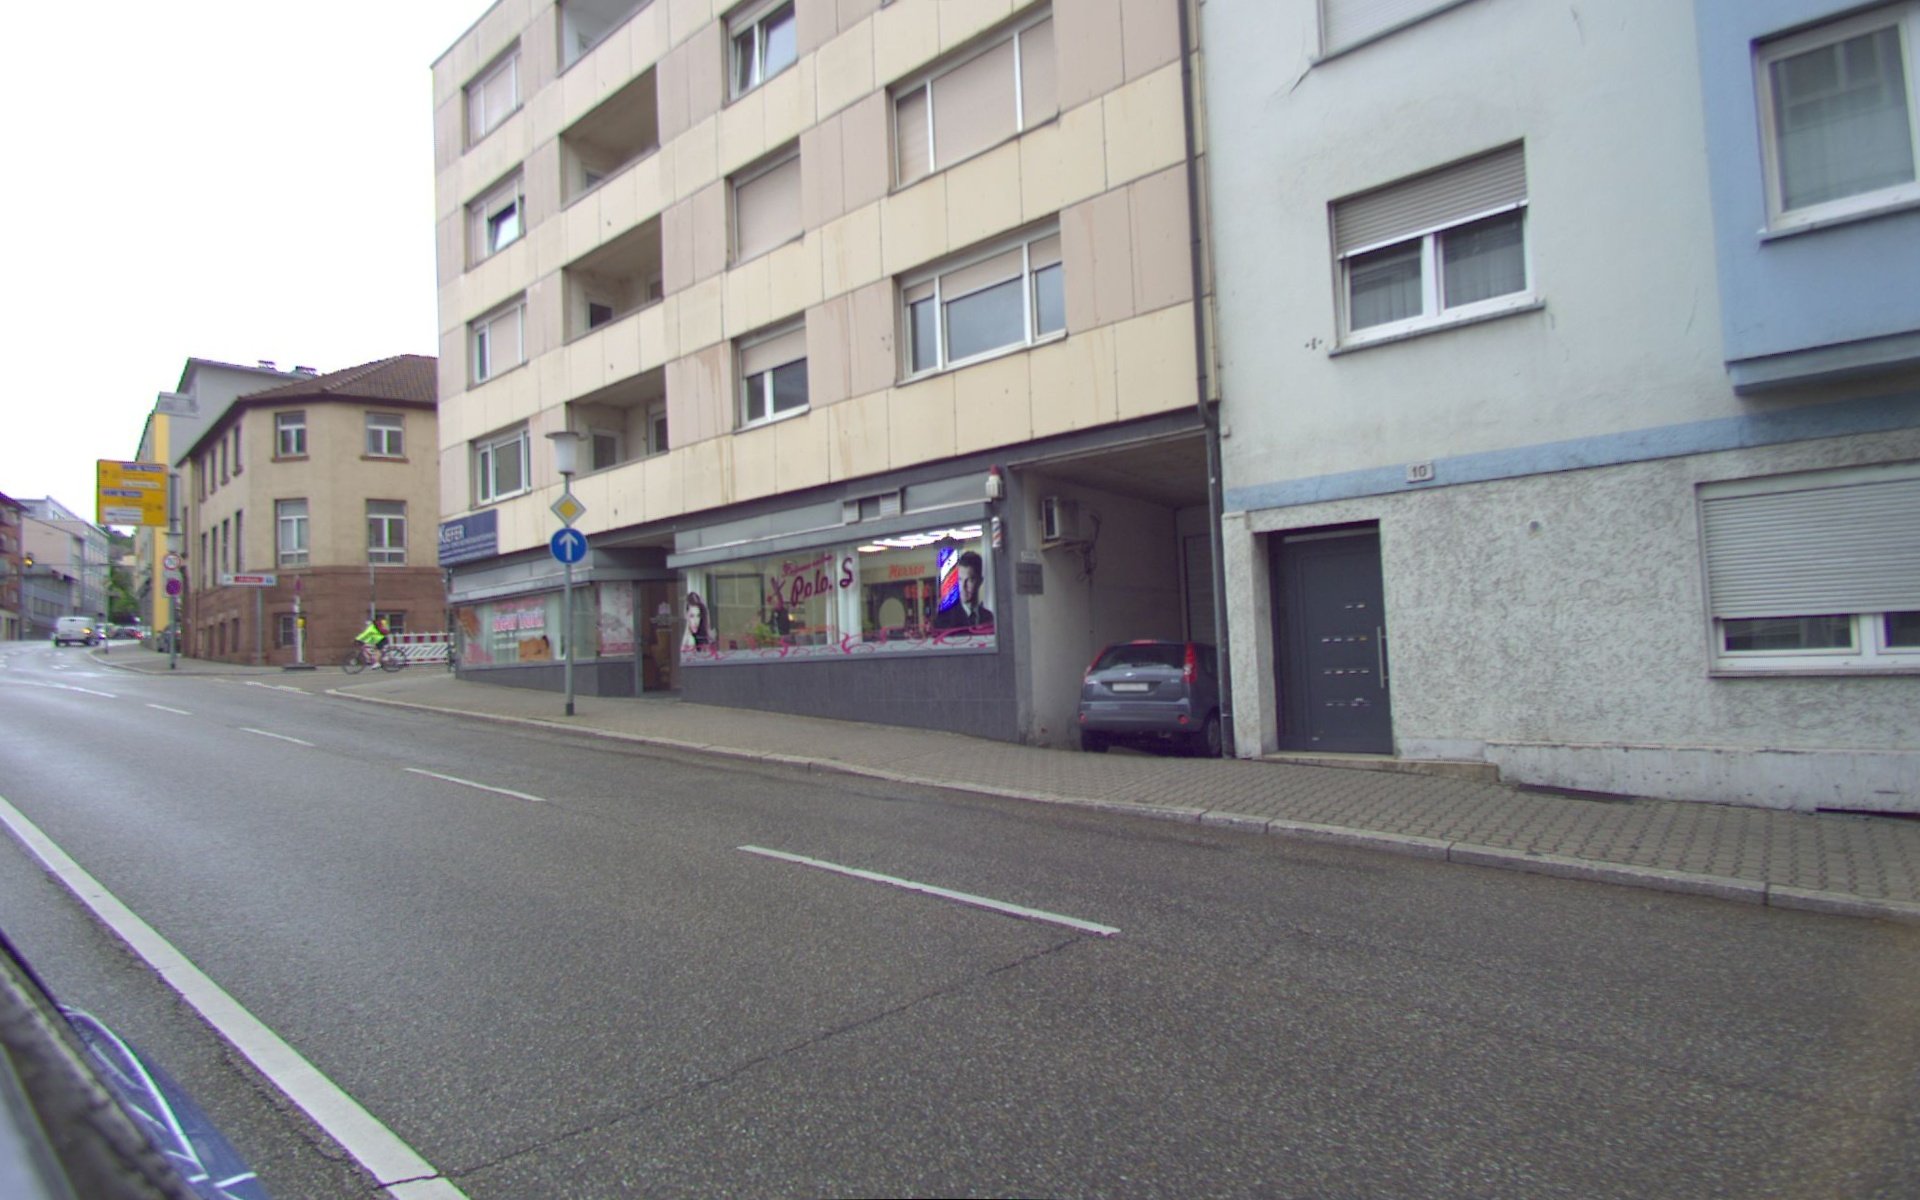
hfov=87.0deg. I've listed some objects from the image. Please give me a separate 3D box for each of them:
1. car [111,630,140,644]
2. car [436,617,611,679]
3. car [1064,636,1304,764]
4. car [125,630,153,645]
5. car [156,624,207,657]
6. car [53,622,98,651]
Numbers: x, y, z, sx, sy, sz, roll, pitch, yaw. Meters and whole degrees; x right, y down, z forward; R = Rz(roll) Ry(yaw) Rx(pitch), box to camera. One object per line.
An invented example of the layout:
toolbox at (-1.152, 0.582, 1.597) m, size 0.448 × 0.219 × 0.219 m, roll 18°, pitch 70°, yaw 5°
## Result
car at (-88.267, 3.864, 107.087) m, size 1.832 × 1.465 × 4.330 m, roll 1°, pitch -2°, yaw -33°
car at (-12.542, 1.333, 29.209) m, size 4.296 × 1.515 × 1.757 m, roll -1°, pitch -1°, yaw -39°
car at (2.996, 1.363, 12.908) m, size 1.674 × 1.361 × 3.954 m, roll -3°, pitch -9°, yaw 33°
car at (-83.585, 3.770, 103.043) m, size 1.832 × 1.465 × 4.329 m, roll 1°, pitch -2°, yaw -35°
car at (-38.610, 1.980, 50.158) m, size 1.834 × 1.465 × 3.969 m, roll -3°, pitch 0°, yaw -39°
car at (-57.326, 2.352, 65.670) m, size 1.837 × 1.817 × 4.275 m, roll 2°, pitch -2°, yaw -37°
